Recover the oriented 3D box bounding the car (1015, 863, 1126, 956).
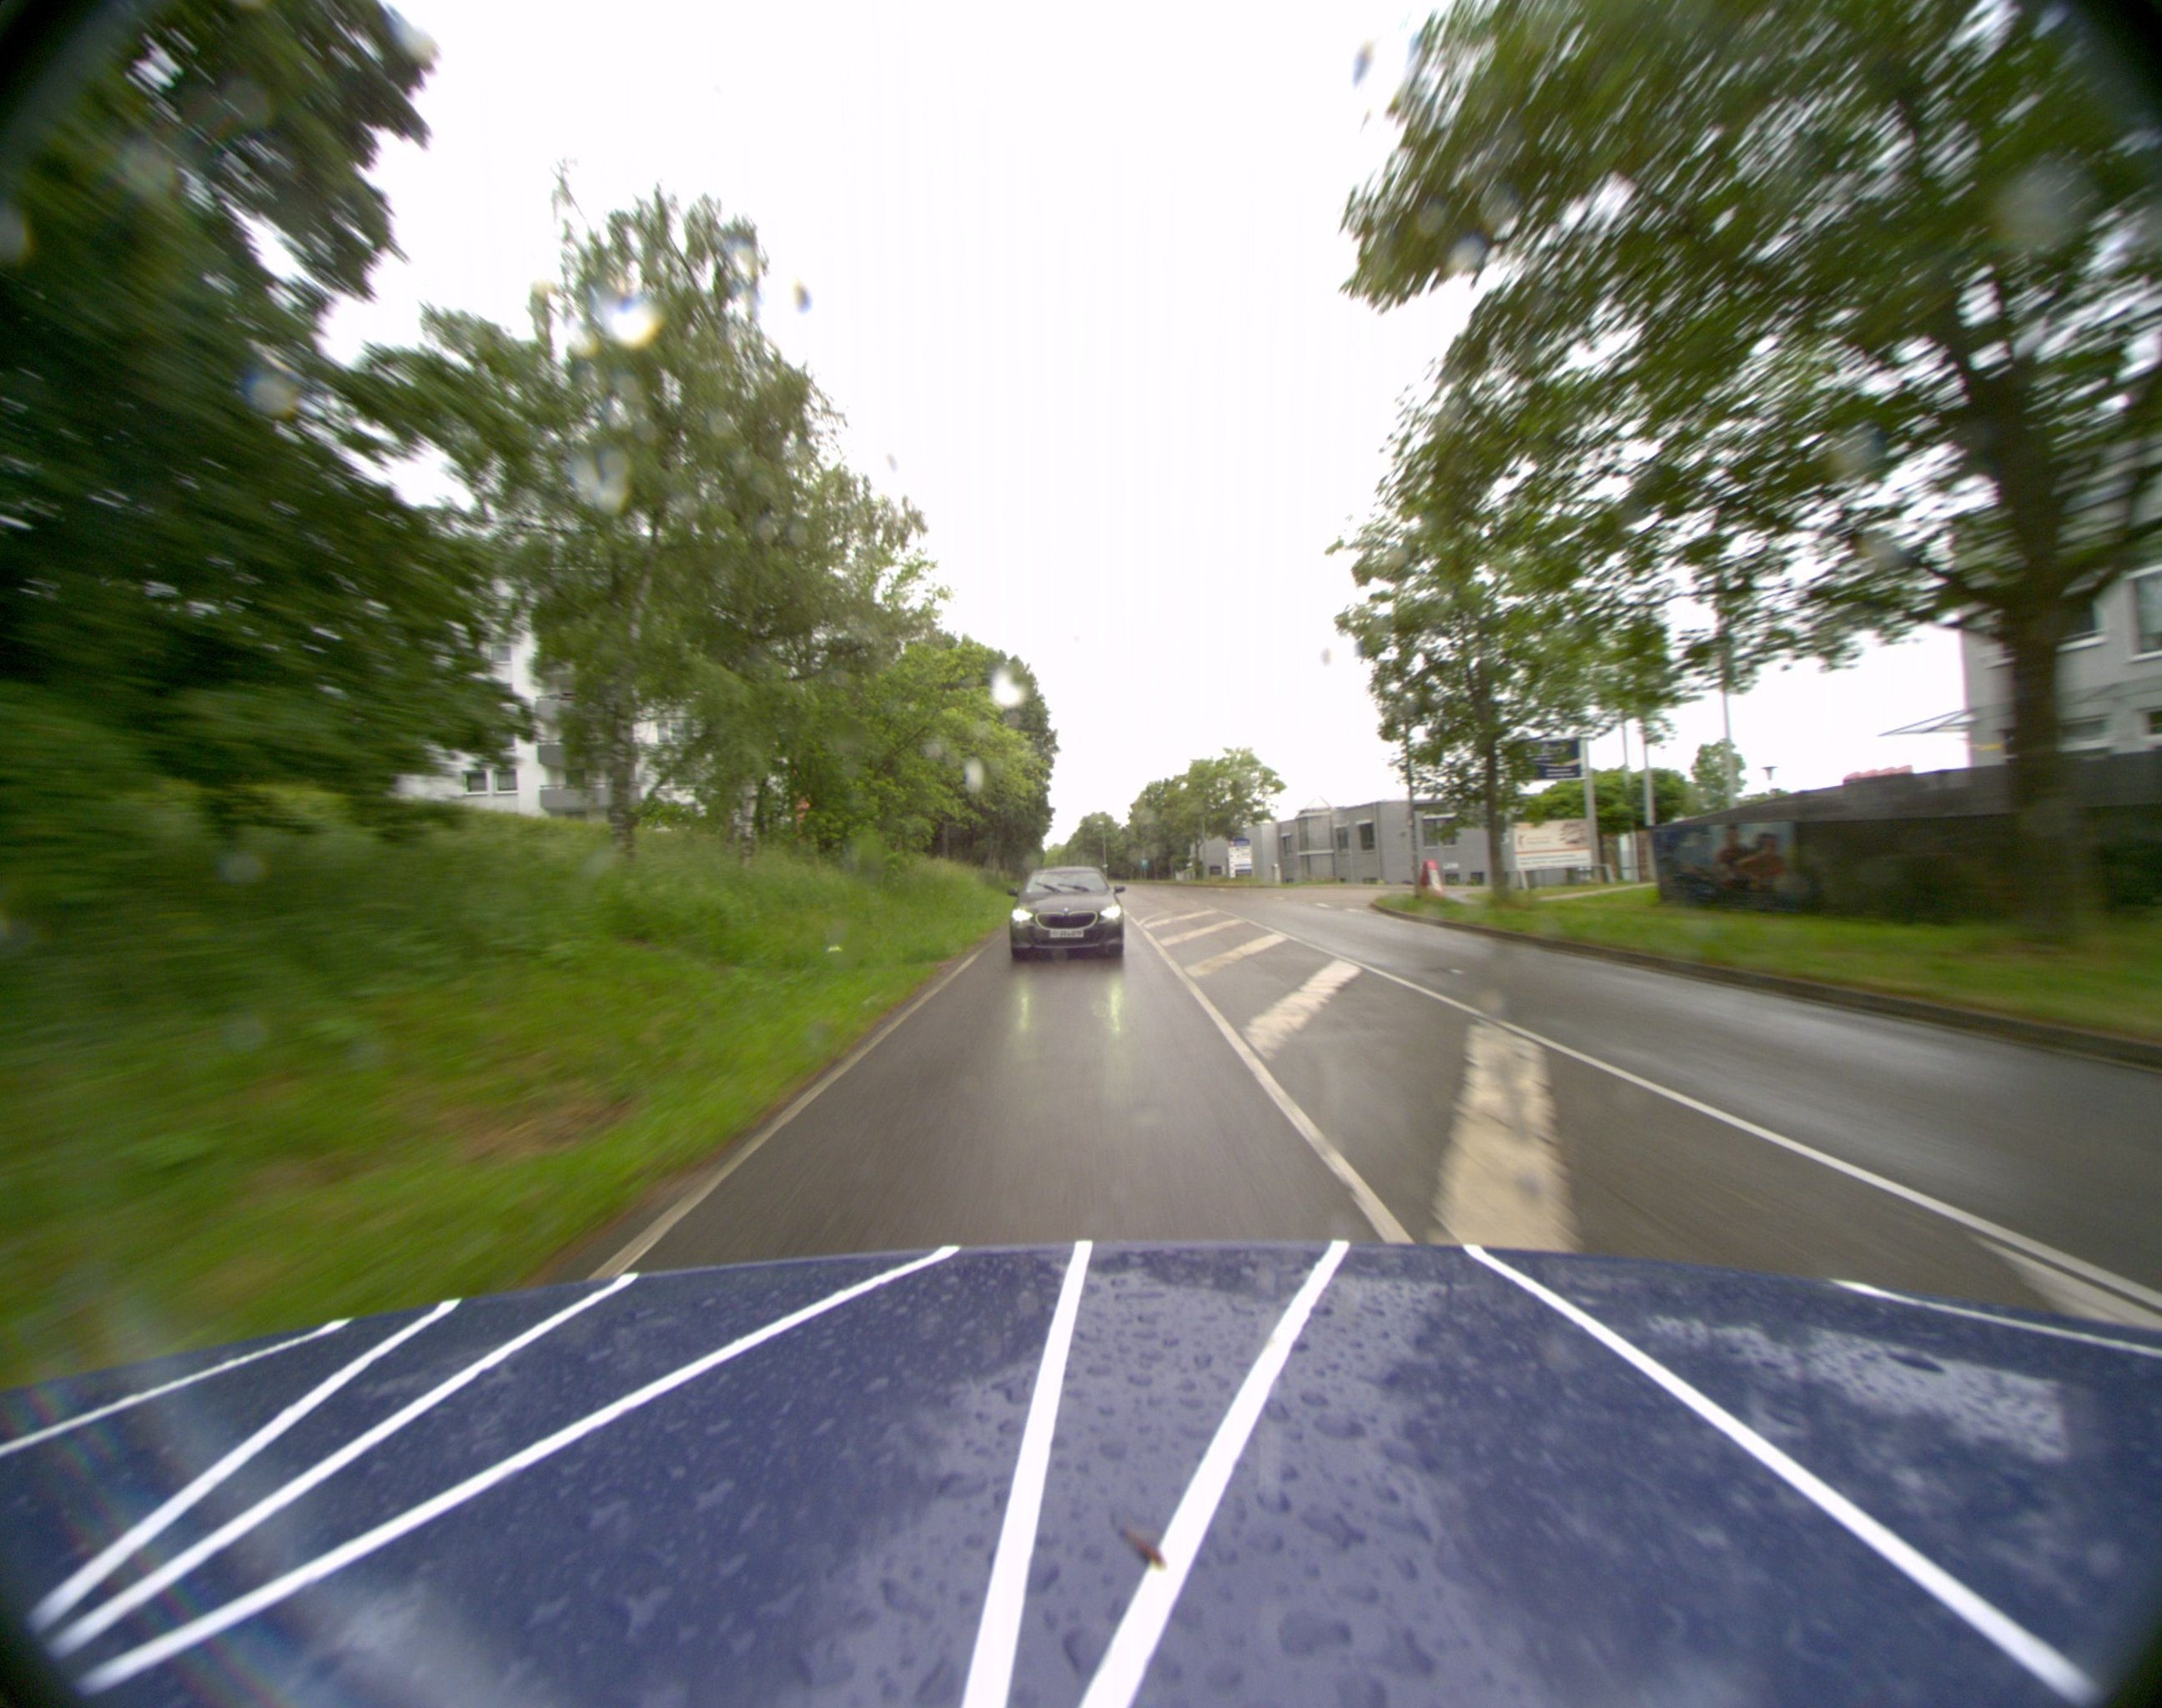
[{"bbox_3d":[-0.204,0.982,15.216,1.845,1.471,3.999,-3,0,-1],"label":"car"}]
